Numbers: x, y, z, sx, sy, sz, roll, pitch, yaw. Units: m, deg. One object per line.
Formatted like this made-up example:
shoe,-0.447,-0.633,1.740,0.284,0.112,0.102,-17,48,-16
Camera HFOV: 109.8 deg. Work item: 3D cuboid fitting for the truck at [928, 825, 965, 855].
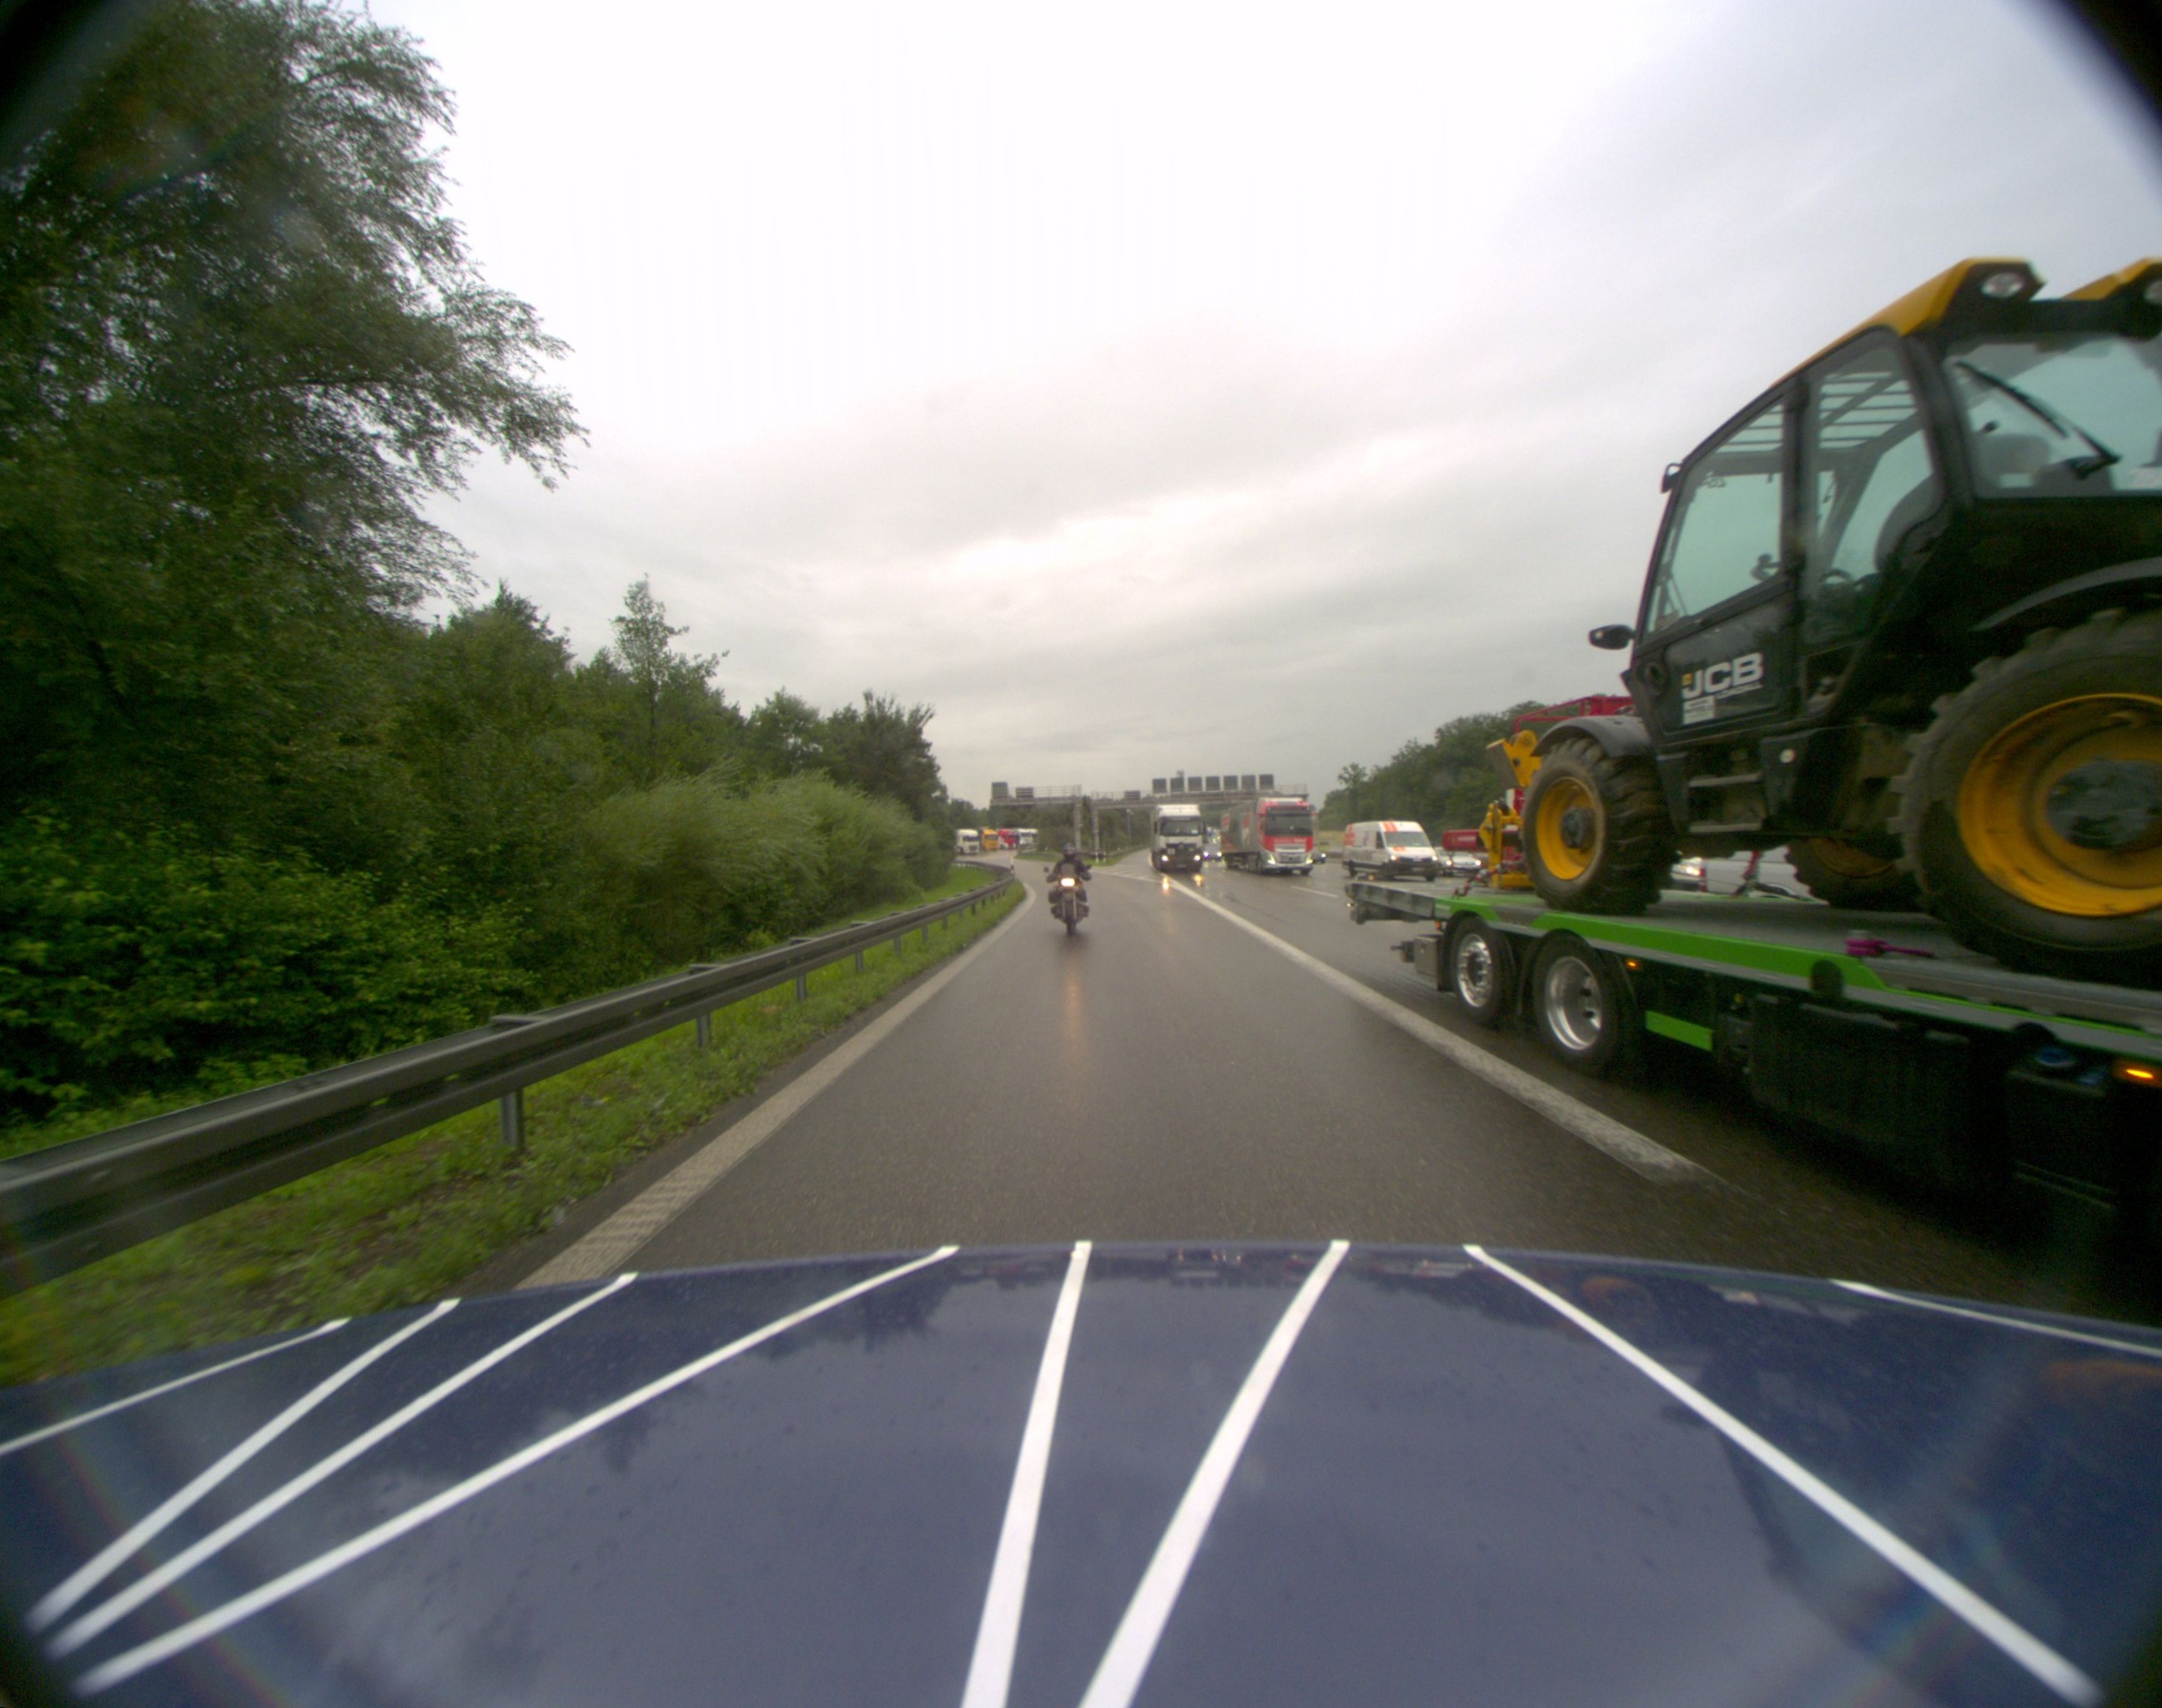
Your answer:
truck,-19.354,-2.099,109.126,2.831,4.123,5.287,-3,3,-39

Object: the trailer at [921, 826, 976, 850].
trailer,-22.800,-2.807,129.912,2.849,3.898,13.914,-3,3,-39

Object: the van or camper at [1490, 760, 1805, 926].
van or camper,12.972,-0.283,18.407,2.585,3.186,7.130,-1,1,3

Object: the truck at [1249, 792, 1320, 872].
truck,10.341,-1.098,39.014,2.633,3.842,4.589,-1,1,3

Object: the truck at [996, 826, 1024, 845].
truck,-14.669,-3.872,156.472,3.252,3.898,5.007,-3,3,-42

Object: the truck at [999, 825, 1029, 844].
truck,-14.245,-4.123,161.512,2.905,3.898,6.536,-3,3,-42

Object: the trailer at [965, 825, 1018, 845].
trailer,-19.111,-4.017,161.530,3.252,3.898,14.787,-3,3,-42

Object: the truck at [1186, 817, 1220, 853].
truck,15.365,-2.601,96.610,3.354,4.048,12.572,-4,2,6

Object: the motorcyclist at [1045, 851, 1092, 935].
motorcyclist,-0.246,0.748,15.247,0.878,1.559,1.373,-1,2,0

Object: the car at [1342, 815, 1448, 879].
car,13.681,-0.353,33.746,2.153,2.474,7.366,-1,1,4

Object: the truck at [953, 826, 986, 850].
truck,-18.337,-2.620,124.450,2.836,3.891,5.395,-3,3,-40

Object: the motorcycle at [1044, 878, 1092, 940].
motorcycle,-0.240,1.070,15.373,0.878,1.016,2.352,-1,1,0

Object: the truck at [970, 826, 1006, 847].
truck,-17.544,-3.269,142.962,2.845,3.898,8.107,-3,3,-38

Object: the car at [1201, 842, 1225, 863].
car,12.556,-0.174,72.514,1.762,1.762,3.999,-4,2,4

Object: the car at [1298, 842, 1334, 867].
car,19.416,-0.027,62.948,1.762,1.762,3.999,-4,2,3

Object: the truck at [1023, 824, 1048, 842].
truck,-11.641,-5.459,194.315,3.251,4.363,5.797,-4,3,-42

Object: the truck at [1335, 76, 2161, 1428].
truck,4.348,-0.303,3.614,2.837,3.568,11.797,-1,1,3

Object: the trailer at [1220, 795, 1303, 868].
trailer,10.804,-1.313,47.036,2.633,3.842,13.676,-1,1,3

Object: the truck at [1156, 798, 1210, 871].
truck,6.068,-1.192,46.094,2.924,4.076,6.719,-1,2,5

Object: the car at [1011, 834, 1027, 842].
car,-14.585,-3.700,179.155,1.851,1.848,3.988,-4,3,-39

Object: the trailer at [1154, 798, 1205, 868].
trailer,6.615,-1.455,52.750,2.924,4.182,13.636,-1,2,5

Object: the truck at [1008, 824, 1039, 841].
truck,-14.156,-5.260,185.668,3.252,4.069,7.915,-3,3,-42

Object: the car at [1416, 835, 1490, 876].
car,17.947,0.033,36.858,1.760,1.818,3.735,-2,1,1

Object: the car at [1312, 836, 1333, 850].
car,35.260,-1.605,110.985,1.998,2.002,4.739,-3,1,6

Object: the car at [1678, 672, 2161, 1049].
car,8.728,-0.015,6.946,2.220,2.615,5.844,-1,1,4
